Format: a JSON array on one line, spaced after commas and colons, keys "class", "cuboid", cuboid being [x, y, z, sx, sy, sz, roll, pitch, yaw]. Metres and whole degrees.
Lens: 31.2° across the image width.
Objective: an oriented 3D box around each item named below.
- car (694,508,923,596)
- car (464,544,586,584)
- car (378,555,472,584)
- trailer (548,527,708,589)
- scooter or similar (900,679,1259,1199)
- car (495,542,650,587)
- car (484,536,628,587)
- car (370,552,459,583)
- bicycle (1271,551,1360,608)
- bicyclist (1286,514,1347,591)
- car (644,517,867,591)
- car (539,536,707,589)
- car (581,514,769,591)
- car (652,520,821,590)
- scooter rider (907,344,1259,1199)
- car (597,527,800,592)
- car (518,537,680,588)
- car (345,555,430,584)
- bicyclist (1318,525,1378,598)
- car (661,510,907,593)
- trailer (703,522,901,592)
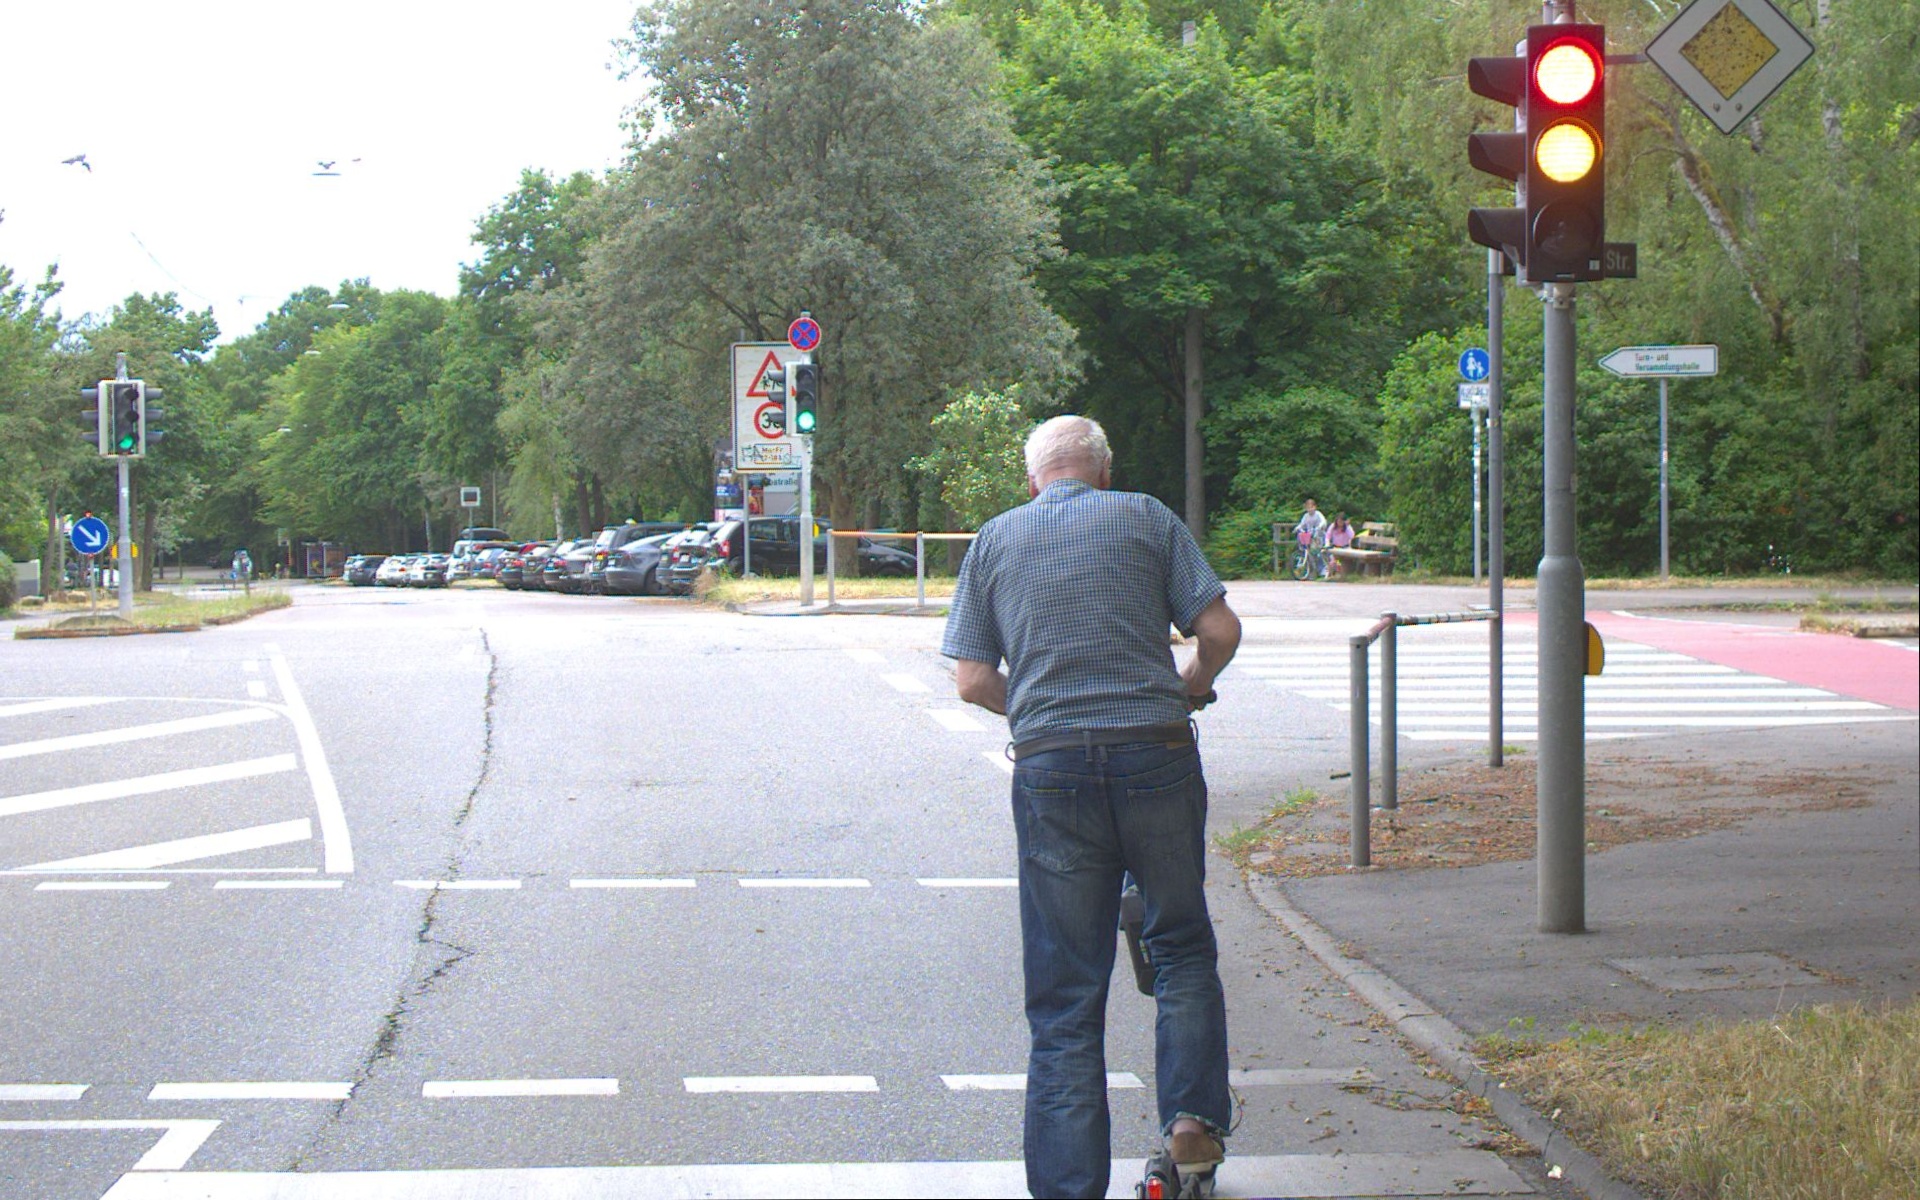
[{"class": "car", "cuboid": [-2.630, -0.838, 59.500, 3.714, 1.471, 1.577, -1, 1, -14]}, {"class": "car", "cuboid": [-15.412, -1.256, 121.800, 3.964, 1.401, 1.757, 0, 0, -26]}, {"class": "car", "cuboid": [-24.662, -1.393, 158.466, 3.885, 1.305, 1.743, -1, 0, -36]}, {"class": "trailer", "cuboid": [-8.341, -1.047, 86.402, 3.687, 1.530, 1.646, 0, 1, -23]}, {"class": "scooter or similar", "cuboid": [0.284, 0.783, 7.274, 0.681, 1.135, 1.460, 0, 3, 5]}, {"class": "car", "cuboid": [-11.737, -1.076, 104.122, 4.312, 1.336, 1.734, -1, 0, -25]}, {"class": "car", "cuboid": [-12.525, -1.206, 106.749, 4.072, 1.510, 1.733, -1, 1, -33]}, {"class": "car", "cuboid": [-26.446, -1.578, 166.704, 3.884, 1.424, 1.743, -1, 0, -31]}, {"class": "bicycle", "cuboid": [5.668, -0.334, 54.791, 0.641, 0.755, 1.678, 3, 6, 37]}, {"class": "bicyclist", "cuboid": [5.680, -0.756, 54.759, 0.641, 1.157, 0.802, 3, 6, 37]}, {"class": "car", "cuboid": [-4.154, -0.937, 69.749, 4.218, 1.459, 1.635, -1, 1, -20]}, {"class": "car", "cuboid": [-8.718, -0.970, 88.903, 4.036, 1.323, 1.560, -1, 0, -20]}, {"class": "car", "cuboid": [-6.552, -1.101, 79.012, 3.985, 1.719, 1.681, -1, 0, -20]}, {"class": "car", "cuboid": [-4.848, -0.973, 74.534, 3.325, 1.459, 1.635, -1, 0, -21]}, {"class": "scooter rider", "cuboid": [0.287, 0.341, 7.290, 0.681, 1.724, 1.196, 0, 2, 5]}, {"class": "car", "cuboid": [-5.801, -0.902, 76.257, 4.158, 1.402, 1.698, -1, 0, -22]}, {"class": "car", "cuboid": [-10.374, -1.093, 98.825, 4.343, 1.440, 1.634, -1, 1, -26]}, {"class": "car", "cuboid": [-29.364, -1.564, 176.318, 3.884, 1.424, 1.743, -1, 0, -31]}, {"class": "bicyclist", "cuboid": [6.341, -0.630, 56.198, 0.519, 1.183, 0.965, -2, -1, 39]}, {"class": "car", "cuboid": [-3.178, -0.875, 62.045, 4.134, 1.471, 1.577, -1, 0, -22]}, {"class": "trailer", "cuboid": [-2.993, -0.811, 64.989, 3.401, 1.262, 1.617, -1, 0, -21]}]
